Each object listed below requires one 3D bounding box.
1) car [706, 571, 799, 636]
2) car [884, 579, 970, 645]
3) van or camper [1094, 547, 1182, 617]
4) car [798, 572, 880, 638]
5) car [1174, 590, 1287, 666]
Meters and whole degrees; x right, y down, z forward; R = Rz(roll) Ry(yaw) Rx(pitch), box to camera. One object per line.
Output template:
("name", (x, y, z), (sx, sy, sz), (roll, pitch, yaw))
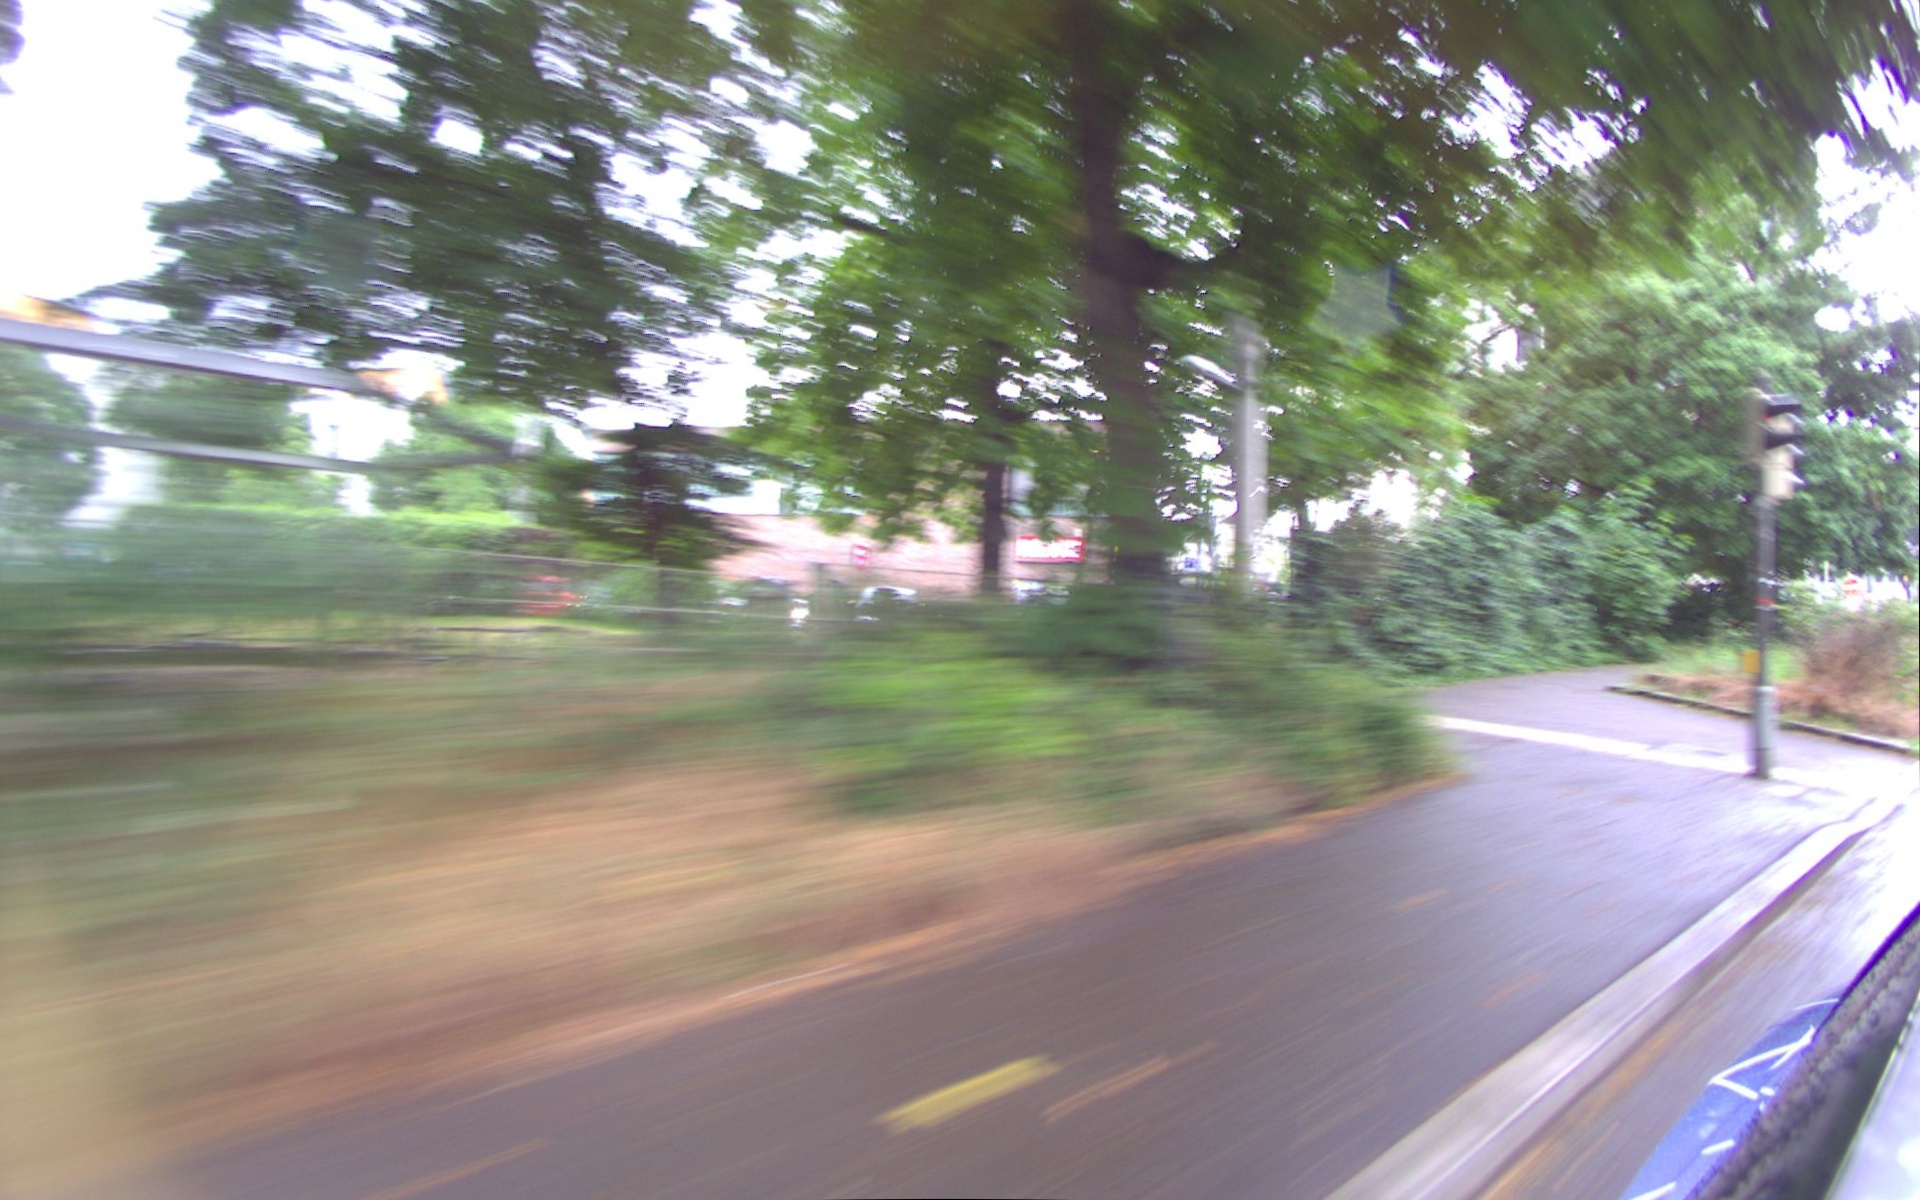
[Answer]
("car", (-5.987, 0.043, 29.663), (1.961, 1.750, 4.121), (1, 1, -1))
("car", (-1.033, 0.287, 29.468), (1.959, 1.750, 4.007), (1, 1, -10))
("van or camper", (5.133, -0.540, 29.856), (1.964, 1.857, 5.177), (1, 1, 4))
("car", (-3.462, 0.084, 29.644), (1.961, 1.750, 4.121), (1, 1, -1))
("car", (7.821, 0.795, 29.761), (1.961, 2.039, 4.510), (0, -1, -2))
